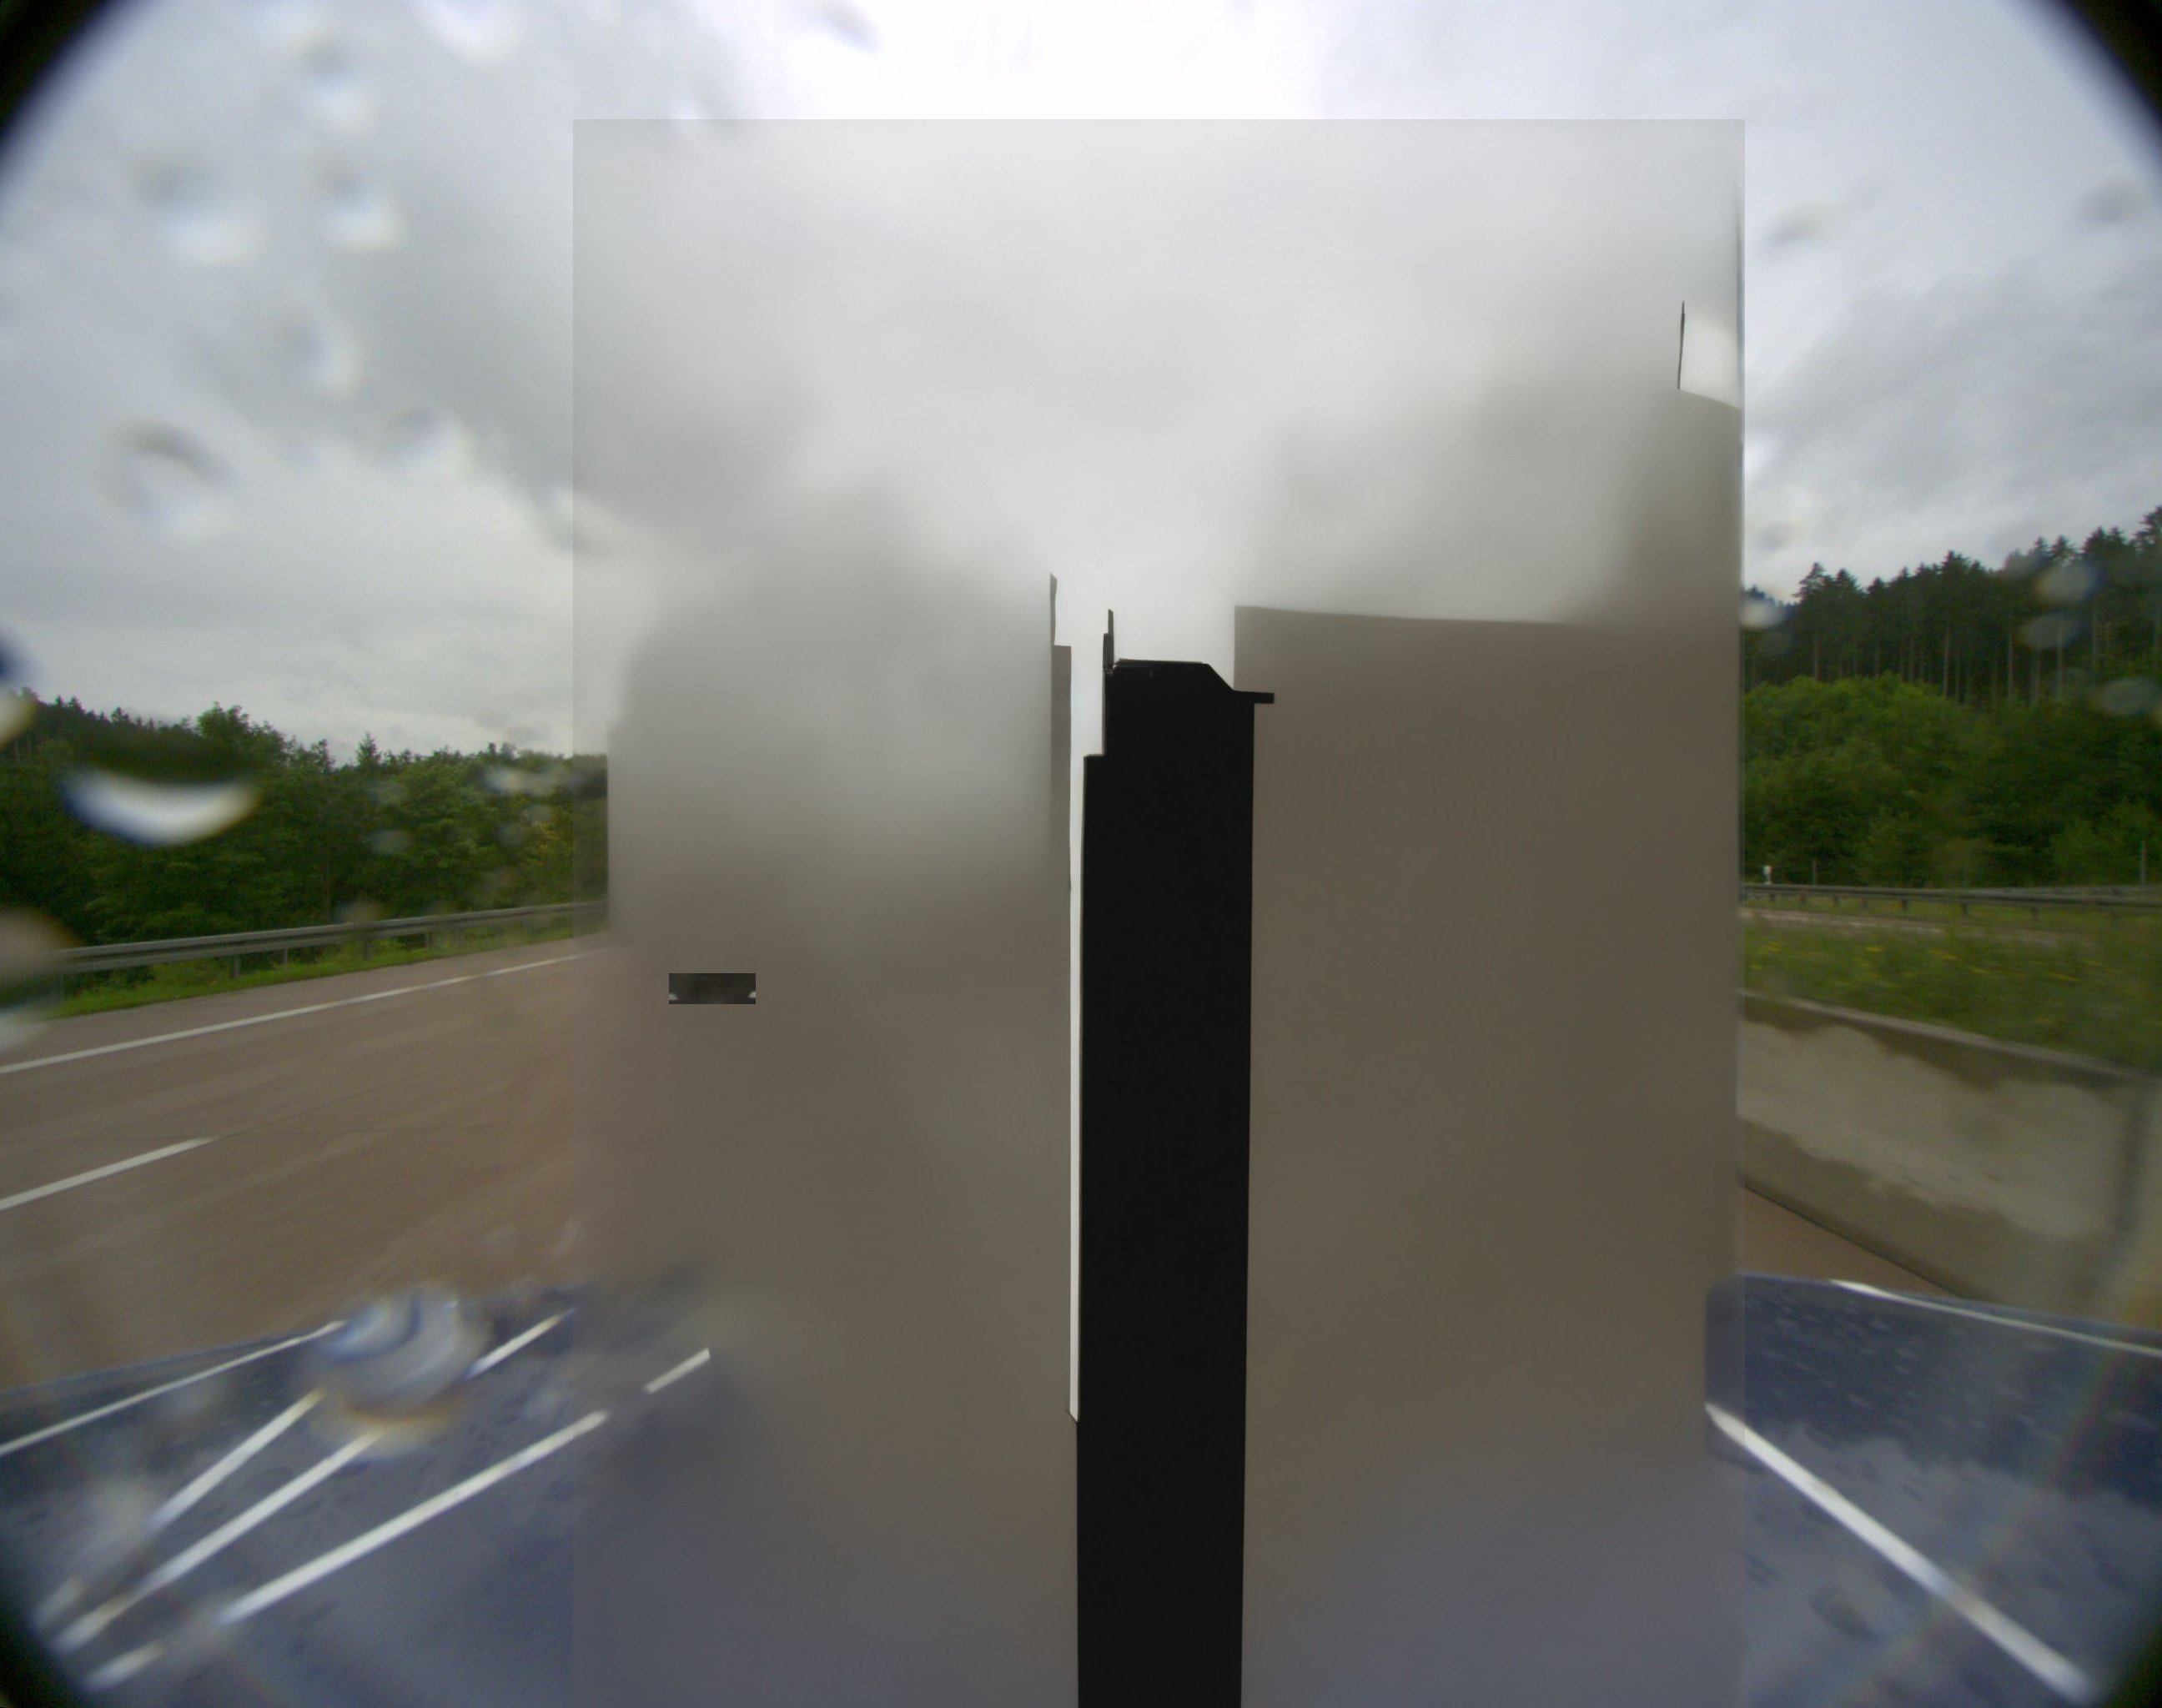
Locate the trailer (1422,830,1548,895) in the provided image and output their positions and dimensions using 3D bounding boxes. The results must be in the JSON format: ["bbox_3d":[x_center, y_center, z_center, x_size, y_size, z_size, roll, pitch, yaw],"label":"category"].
[{"bbox_3d":[16.414,0.314,31.332,2.282,2.397,5.437,1,0,0],"label":"trailer"}]

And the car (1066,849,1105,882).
[{"bbox_3d":[0.184,0.609,43.517,1.999,1.623,4.929,-3,1,-1],"label":"car"}]

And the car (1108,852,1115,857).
[{"bbox_3d":[9.460,0.135,234.921,1.998,1.551,4.944,-2,1,0],"label":"car"}]

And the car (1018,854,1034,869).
[{"bbox_3d":[-6.954,0.933,96.358,1.702,1.602,4.974,-2,1,-2],"label":"car"}]

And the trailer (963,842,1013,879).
[{"bbox_3d":[-7.506,0.388,62.824,2.889,2.660,11.394,-3,1,-1],"label":"trailer"}]

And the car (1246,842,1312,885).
[{"bbox_3d":[8.425,0.353,32.722,1.674,1.656,4.476,-2,1,1],"label":"car"}]

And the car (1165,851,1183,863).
[{"bbox_3d":[12.817,0.453,104.695,1.998,1.536,4.278,1,1,0],"label":"car"}]

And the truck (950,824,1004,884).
[{"bbox_3d":[-7.370,-0.096,54.853,2.905,3.942,6.985,-3,2,-2],"label":"truck"}]

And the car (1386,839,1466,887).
[{"bbox_3d":[16.391,0.417,36.340,1.762,2.140,4.428,1,0,0],"label":"car"}]

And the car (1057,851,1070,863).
[{"bbox_3d":[-2.955,0.485,126.575,1.999,1.623,4.929,-3,1,-1],"label":"car"}]

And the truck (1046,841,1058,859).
[{"bbox_3d":[-7.093,-1.033,185.295,2.610,4.190,6.247,-3,2,-1],"label":"truck"}]

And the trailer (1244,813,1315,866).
[{"bbox_3d":[16.839,-1.261,65.601,2.746,4.116,12.752,0,1,0],"label":"trailer"}]

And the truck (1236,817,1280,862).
[{"bbox_3d":[16.896,-1.426,72.845,2.775,4.152,6.000,0,2,0],"label":"truck"}]

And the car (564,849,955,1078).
[{"bbox_3d":[-2.958,0.833,8.779,1.999,1.584,5.818,-2,1,0],"label":"car"}]

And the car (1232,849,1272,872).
[{"bbox_3d":[12.576,0.434,56.300,1.696,1.548,5.676,0,0,1],"label":"car"}]

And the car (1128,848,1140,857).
[{"bbox_3d":[12.452,-0.273,178.076,2.286,1.851,5.726,-2,1,0],"label":"car"}]
